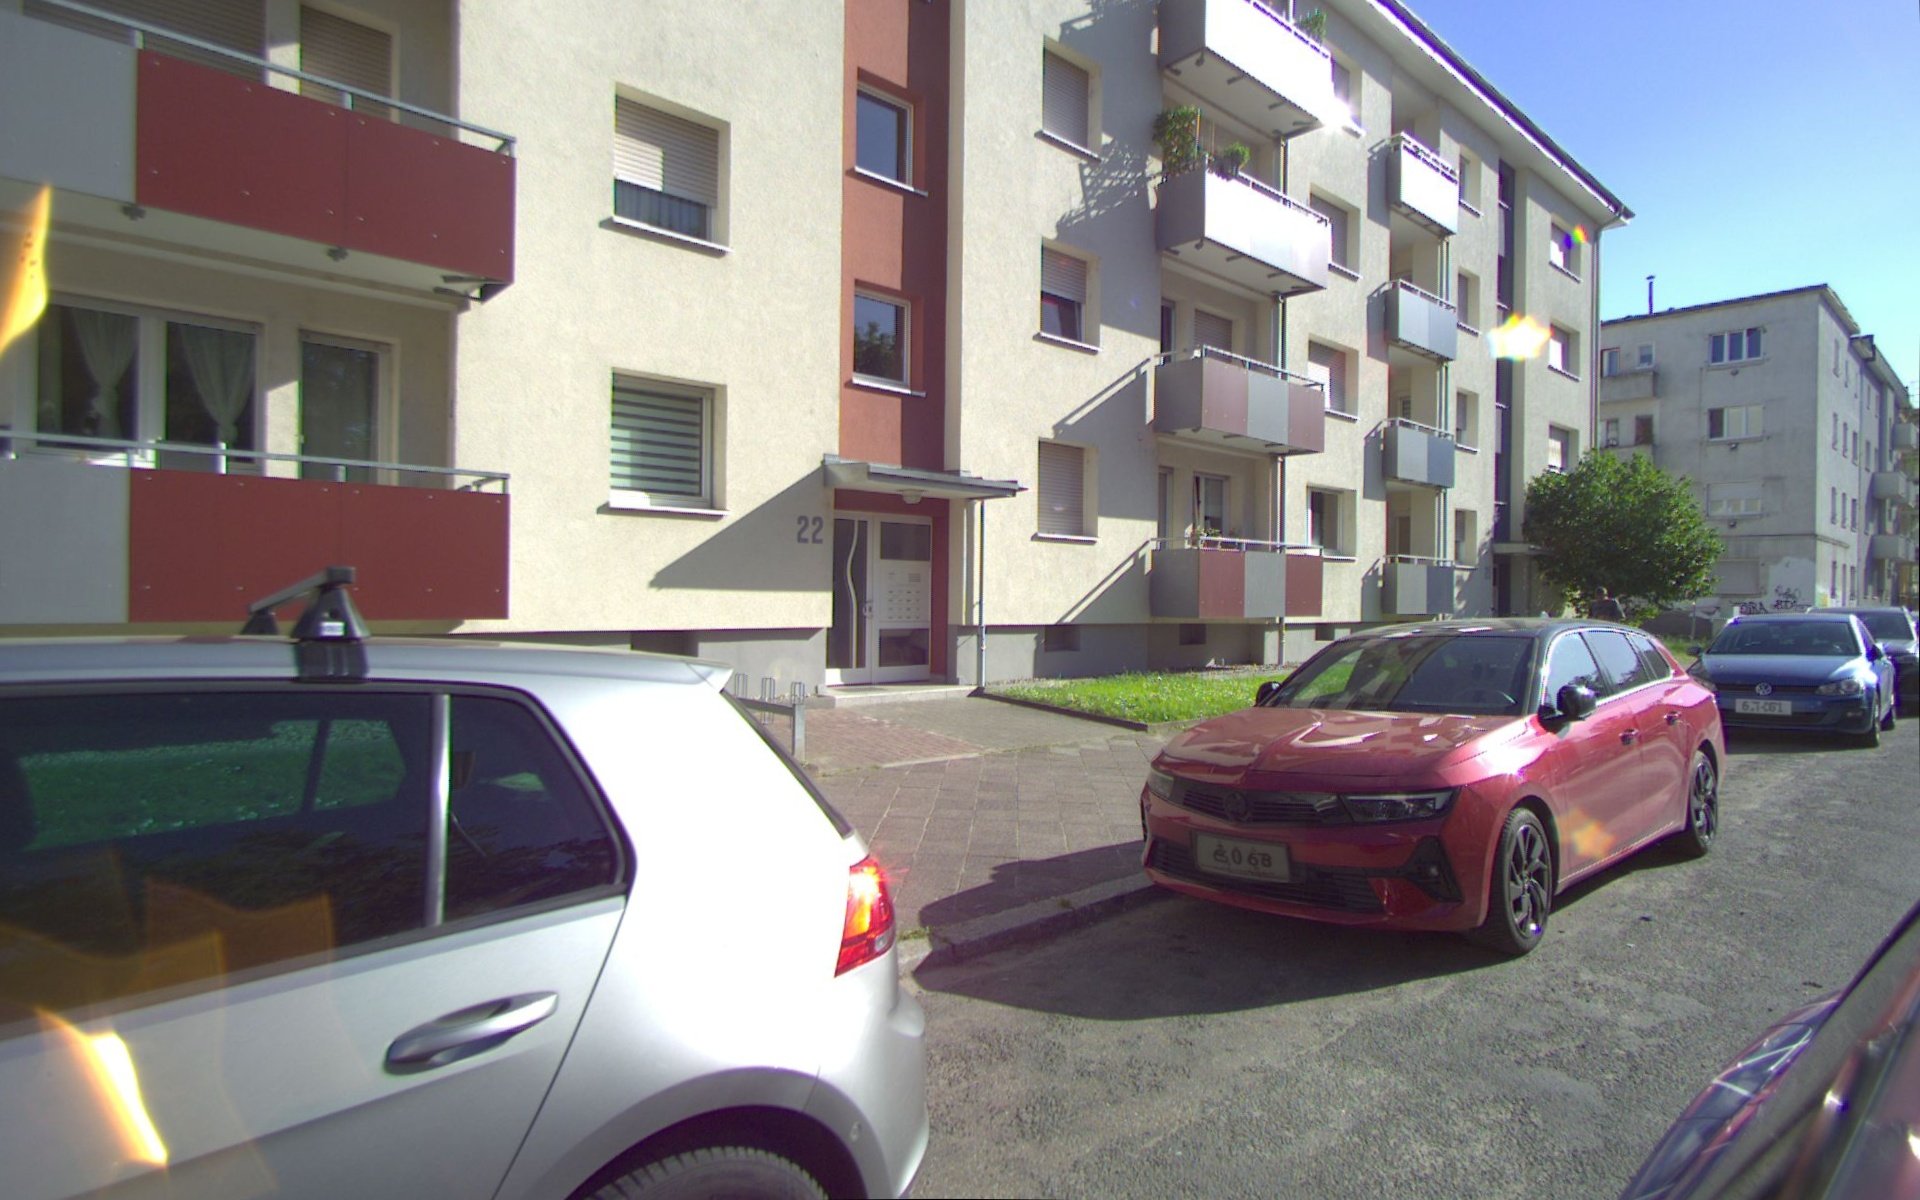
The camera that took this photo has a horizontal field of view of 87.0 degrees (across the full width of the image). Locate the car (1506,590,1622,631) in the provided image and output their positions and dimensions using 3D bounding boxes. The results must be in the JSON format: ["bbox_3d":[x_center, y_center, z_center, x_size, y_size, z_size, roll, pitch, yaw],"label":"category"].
[{"bbox_3d":[24.795,0.419,41.634,1.662,1.477,3.717,3,0,-40],"label":"car"}]

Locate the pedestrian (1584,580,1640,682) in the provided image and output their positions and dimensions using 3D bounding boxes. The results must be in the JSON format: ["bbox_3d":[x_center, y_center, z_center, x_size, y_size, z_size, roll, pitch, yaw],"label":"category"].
[{"bbox_3d":[11.915,0.546,18.487,0.827,1.794,0.646,1,1,-43],"label":"pedestrian"}]

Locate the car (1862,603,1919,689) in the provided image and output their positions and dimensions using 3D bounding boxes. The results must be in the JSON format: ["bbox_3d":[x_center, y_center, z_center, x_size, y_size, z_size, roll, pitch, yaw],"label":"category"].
[{"bbox_3d":[18.424,0.828,19.201,3.733,1.503,1.607,0,1,-43],"label":"car"}]

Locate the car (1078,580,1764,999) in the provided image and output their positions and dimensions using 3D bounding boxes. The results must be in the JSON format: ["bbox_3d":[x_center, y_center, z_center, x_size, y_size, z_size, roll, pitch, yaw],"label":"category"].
[{"bbox_3d":[2.848,0.671,5.698,4.442,1.462,1.756,0,1,-40],"label":"car"}]

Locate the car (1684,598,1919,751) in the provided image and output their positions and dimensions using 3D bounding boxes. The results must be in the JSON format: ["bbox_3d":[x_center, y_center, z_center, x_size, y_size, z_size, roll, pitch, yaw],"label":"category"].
[{"bbox_3d":[10.202,0.744,12.154,4.012,1.499,1.754,0,1,-44],"label":"car"}]

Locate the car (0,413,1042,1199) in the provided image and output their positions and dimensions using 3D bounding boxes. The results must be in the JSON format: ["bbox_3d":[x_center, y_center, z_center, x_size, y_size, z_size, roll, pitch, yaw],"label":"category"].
[{"bbox_3d":[-2.133,0.650,1.122,4.524,1.642,1.900,0,-1,-43],"label":"car"}]

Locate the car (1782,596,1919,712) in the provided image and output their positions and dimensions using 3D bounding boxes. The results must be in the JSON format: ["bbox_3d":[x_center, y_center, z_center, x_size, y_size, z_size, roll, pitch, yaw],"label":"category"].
[{"bbox_3d":[14.294,0.750,15.814,4.184,1.578,1.754,0,1,-44],"label":"car"}]

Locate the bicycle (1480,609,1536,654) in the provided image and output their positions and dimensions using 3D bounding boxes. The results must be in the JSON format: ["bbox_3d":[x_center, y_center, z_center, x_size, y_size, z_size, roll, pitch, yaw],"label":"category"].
[{"bbox_3d":[12.639,0.695,23.326,0.485,0.972,2.246,3,2,45],"label":"bicycle"}]

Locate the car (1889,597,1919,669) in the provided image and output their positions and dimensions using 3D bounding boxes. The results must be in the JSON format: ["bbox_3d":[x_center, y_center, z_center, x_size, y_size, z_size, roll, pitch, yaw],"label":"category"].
[{"bbox_3d":[22.696,0.736,23.279,4.017,1.567,1.620,0,2,-43],"label":"car"}]

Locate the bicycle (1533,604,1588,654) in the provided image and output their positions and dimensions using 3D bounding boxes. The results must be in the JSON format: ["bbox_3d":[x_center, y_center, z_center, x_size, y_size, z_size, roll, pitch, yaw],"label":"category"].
[{"bbox_3d":[13.320,0.620,22.418,0.485,1.024,2.246,3,2,45],"label":"bicycle"}]
